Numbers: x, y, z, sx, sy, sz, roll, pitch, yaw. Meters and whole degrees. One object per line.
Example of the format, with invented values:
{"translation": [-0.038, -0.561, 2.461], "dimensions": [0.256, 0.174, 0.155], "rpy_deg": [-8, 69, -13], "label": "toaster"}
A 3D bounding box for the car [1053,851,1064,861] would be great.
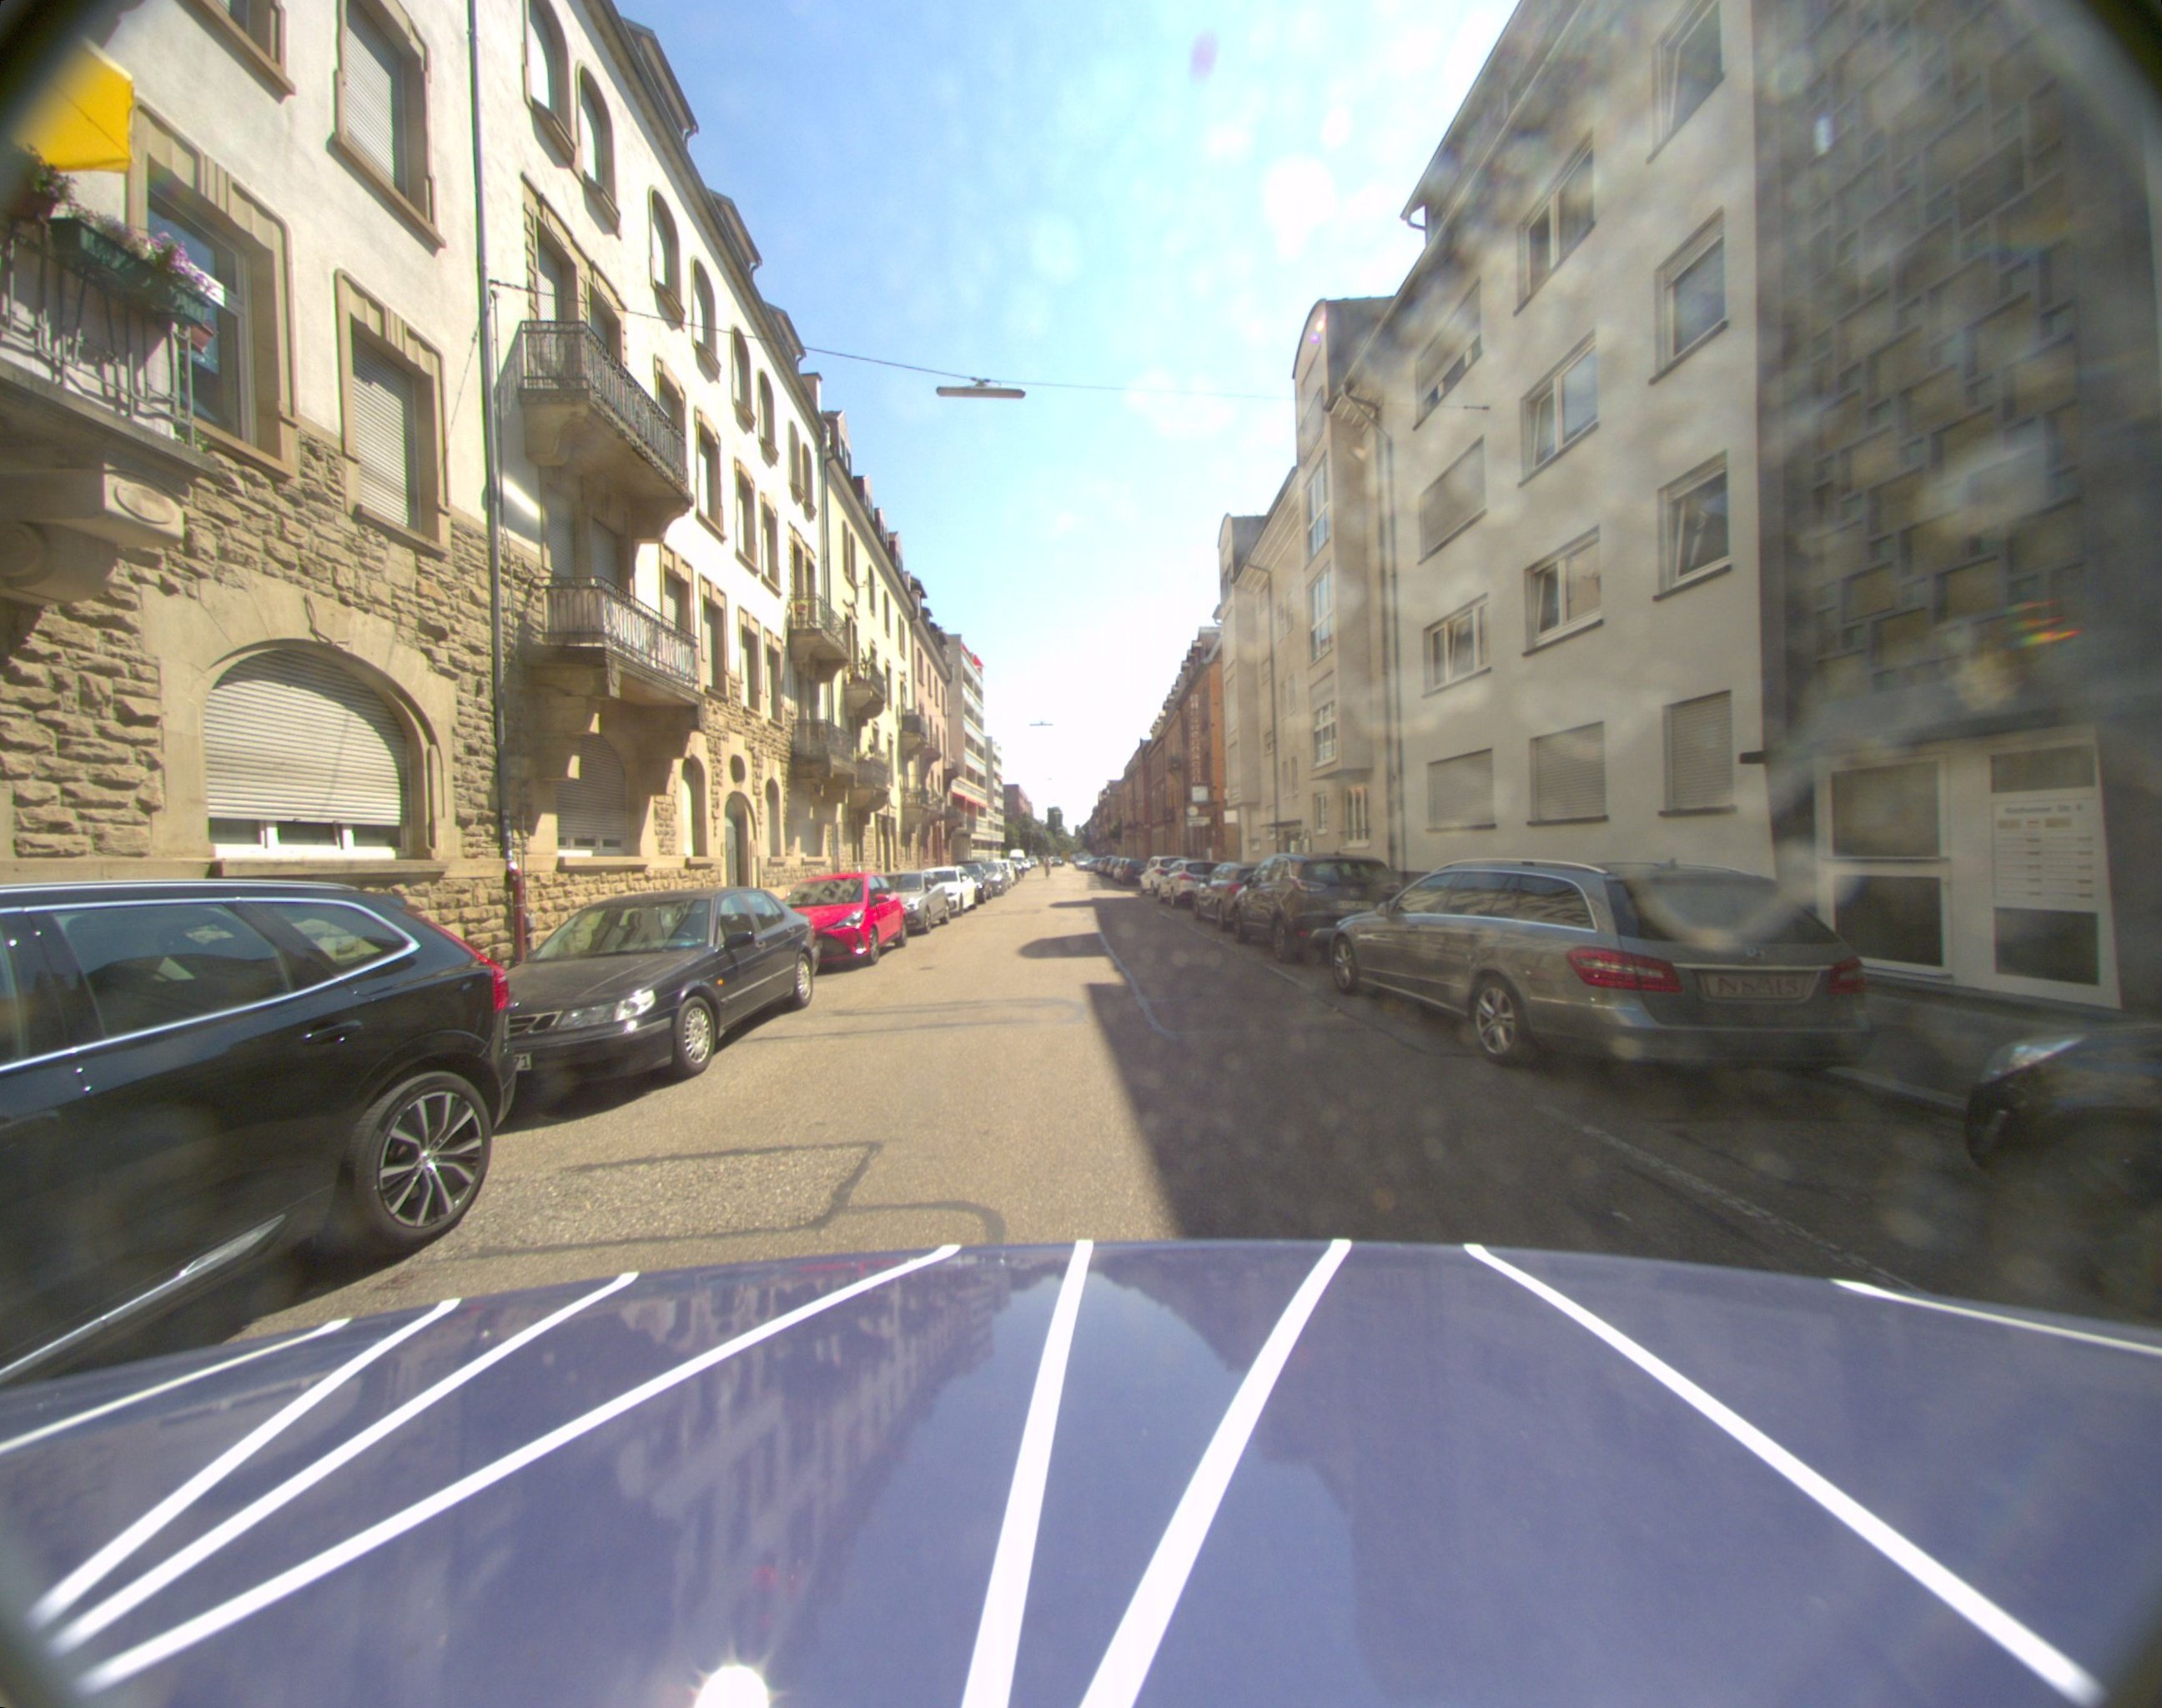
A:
{"translation": [-3.647, 0.257, 122.515], "dimensions": [1.625, 1.600, 3.596], "rpy_deg": [-1, 0, -2], "label": "car"}

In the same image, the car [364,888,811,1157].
{"translation": [-3.780, 1.140, 6.752], "dimensions": [1.516, 1.390, 3.971], "rpy_deg": [-4, 0, -4], "label": "car"}

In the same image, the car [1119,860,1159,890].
{"translation": [3.136, 1.121, 41.694], "dimensions": [1.782, 1.421, 3.836], "rpy_deg": [2, 0, 0], "label": "car"}

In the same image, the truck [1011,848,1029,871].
{"translation": [-7.375, 0.600, 92.079], "dimensions": [1.869, 2.715, 4.507], "rpy_deg": [-1, 0, -1], "label": "truck"}

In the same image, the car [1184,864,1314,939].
{"translation": [3.609, 0.973, 17.139], "dimensions": [1.770, 1.385, 4.347], "rpy_deg": [0, 0, -3], "label": "car"}

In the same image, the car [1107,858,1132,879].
{"translation": [2.829, 1.056, 56.342], "dimensions": [1.450, 1.464, 3.524], "rpy_deg": [2, 0, -3], "label": "car"}

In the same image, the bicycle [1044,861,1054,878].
{"translation": [-2.379, 1.149, 56.621], "dimensions": [0.671, 1.169, 2.094], "rpy_deg": [-1, 0, -1], "label": "bicycle"}

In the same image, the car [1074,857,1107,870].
{"translation": [1.163, 1.209, 94.467], "dimensions": [3.997, 1.491, 1.652], "rpy_deg": [-1, 1, -1], "label": "car"}

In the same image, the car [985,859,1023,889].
{"translation": [-4.596, 1.168, 45.773], "dimensions": [1.652, 1.613, 4.092], "rpy_deg": [-1, 0, 2], "label": "car"}

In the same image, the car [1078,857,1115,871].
{"translation": [1.689, 1.064, 83.661], "dimensions": [3.997, 1.422, 1.677], "rpy_deg": [-1, 1, -1], "label": "car"}

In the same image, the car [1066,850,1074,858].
{"translation": [-2.548, -0.044, 181.378], "dimensions": [1.785, 2.002, 4.000], "rpy_deg": [-2, 0, 1], "label": "car"}

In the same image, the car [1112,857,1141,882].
{"translation": [3.085, 1.023, 52.002], "dimensions": [1.450, 1.534, 3.524], "rpy_deg": [2, 0, -4], "label": "car"}

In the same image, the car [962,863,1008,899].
{"translation": [-4.353, 1.190, 35.094], "dimensions": [1.828, 1.423, 4.488], "rpy_deg": [-2, 0, -4], "label": "car"}

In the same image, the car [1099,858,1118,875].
{"translation": [2.386, 1.095, 67.467], "dimensions": [1.450, 1.391, 3.525], "rpy_deg": [2, 0, -1], "label": "car"}

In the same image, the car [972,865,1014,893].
{"translation": [-4.659, 1.276, 40.731], "dimensions": [1.791, 1.350, 4.351], "rpy_deg": [-1, 0, -2], "label": "car"}

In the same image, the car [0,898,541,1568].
{"translation": [-3.659, 1.071, 1.620], "dimensions": [1.838, 1.558, 4.603], "rpy_deg": [-4, 0, -4], "label": "car"}

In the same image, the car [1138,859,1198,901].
{"translation": [3.474, 1.018, 31.129], "dimensions": [1.633, 1.540, 3.851], "rpy_deg": [2, 0, -5], "label": "car"}

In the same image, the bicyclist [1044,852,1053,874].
{"translation": [-2.396, 0.670, 56.646], "dimensions": [0.645, 1.640, 0.622], "rpy_deg": [-1, 1, -1], "label": "bicyclist"}

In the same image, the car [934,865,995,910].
{"translation": [-4.383, 1.206, 29.131], "dimensions": [1.741, 1.449, 4.667], "rpy_deg": [-1, 0, -2], "label": "car"}

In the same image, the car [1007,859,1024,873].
{"translation": [-7.348, 1.329, 85.566], "dimensions": [1.718, 1.543, 3.999], "rpy_deg": [-1, 0, -1], "label": "car"}

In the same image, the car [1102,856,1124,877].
{"translation": [2.618, 0.988, 62.536], "dimensions": [1.450, 1.633, 3.525], "rpy_deg": [2, 0, -3], "label": "car"}

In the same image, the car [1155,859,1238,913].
{"translation": [3.542, 0.949, 24.108], "dimensions": [1.735, 1.486, 4.347], "rpy_deg": [1, 0, -3], "label": "car"}

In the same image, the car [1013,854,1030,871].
{"translation": [-7.610, 1.059, 97.906], "dimensions": [1.903, 2.002, 3.999], "rpy_deg": [-1, 0, -1], "label": "car"}

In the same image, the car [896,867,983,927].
{"translation": [-4.259, 1.248, 23.592], "dimensions": [1.721, 1.444, 4.596], "rpy_deg": [-4, 0, 0], "label": "car"}

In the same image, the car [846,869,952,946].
{"translation": [-4.229, 1.191, 18.261], "dimensions": [1.594, 1.444, 3.855], "rpy_deg": [-4, 0, -1], "label": "car"}

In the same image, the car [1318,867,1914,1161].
{"translation": [3.702, 0.927, 6.542], "dimensions": [1.661, 1.510, 4.670], "rpy_deg": [0, 0, -3], "label": "car"}

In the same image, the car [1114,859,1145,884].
{"translation": [2.974, 1.057, 47.128], "dimensions": [1.633, 1.421, 3.678], "rpy_deg": [2, 0, 0], "label": "car"}

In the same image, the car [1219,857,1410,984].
{"translation": [3.450, 0.893, 12.016], "dimensions": [1.608, 1.634, 3.976], "rpy_deg": [0, 0, -3], "label": "car"}

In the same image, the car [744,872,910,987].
{"translation": [-4.099, 1.137, 12.911], "dimensions": [1.575, 1.444, 3.842], "rpy_deg": [-4, 0, -2], "label": "car"}

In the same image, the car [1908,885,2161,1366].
{"translation": [4.254, 0.884, 1.184], "dimensions": [1.571, 1.483, 3.892], "rpy_deg": [0, 0, -3], "label": "car"}
